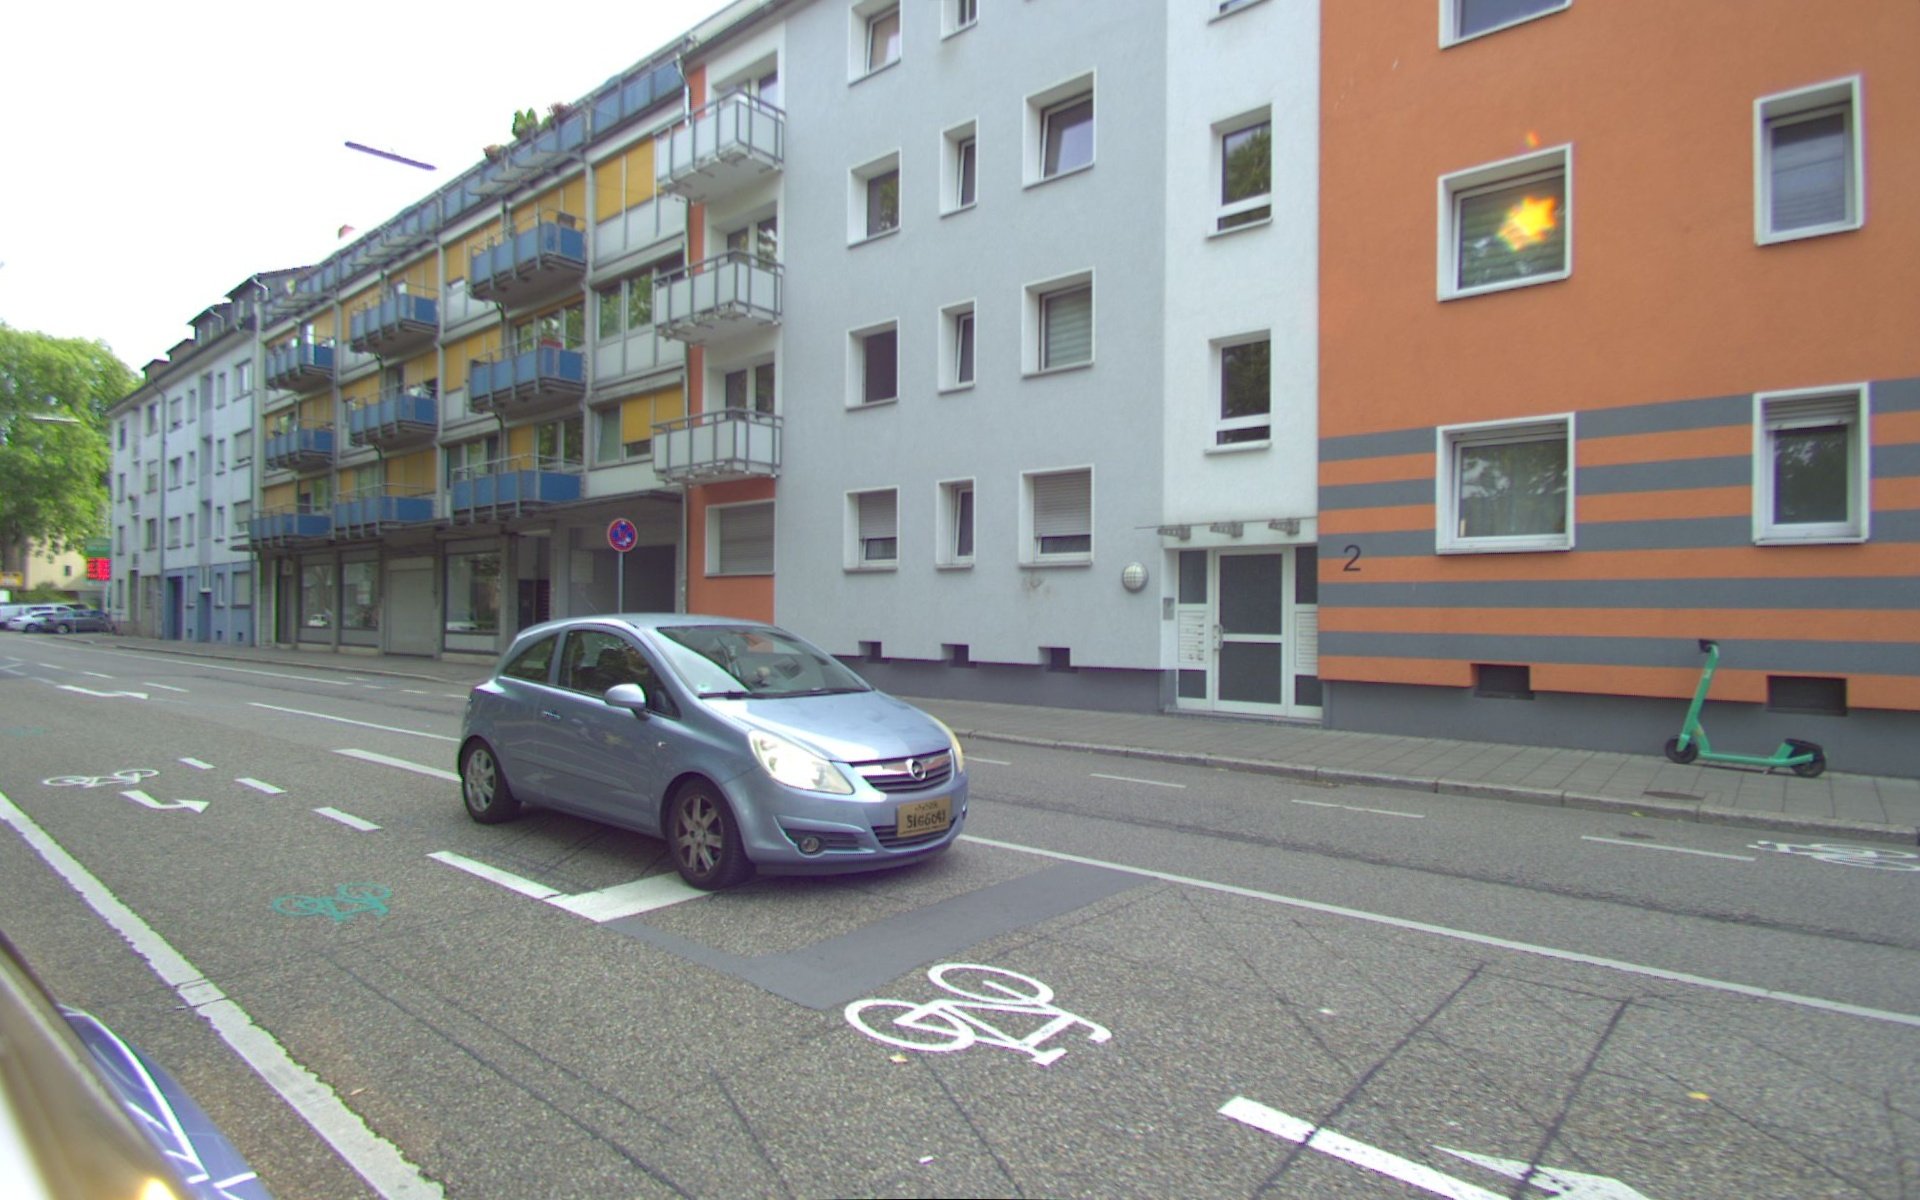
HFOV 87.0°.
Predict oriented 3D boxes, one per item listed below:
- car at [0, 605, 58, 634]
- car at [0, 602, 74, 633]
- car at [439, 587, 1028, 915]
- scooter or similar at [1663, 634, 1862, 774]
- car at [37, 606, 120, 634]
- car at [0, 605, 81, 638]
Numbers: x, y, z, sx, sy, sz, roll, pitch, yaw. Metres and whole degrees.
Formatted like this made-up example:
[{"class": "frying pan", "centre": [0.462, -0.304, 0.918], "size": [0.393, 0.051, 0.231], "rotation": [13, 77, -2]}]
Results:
[{"class": "car", "centre": [-70.042, 1.423, 75.408], "size": [1.998, 2.029, 3.947], "rotation": [-1, 0, 40]}, {"class": "car", "centre": [-63.283, 1.167, 69.052], "size": [1.998, 2.029, 3.947], "rotation": [-1, 0, 40]}, {"class": "car", "centre": [-1.593, 0.696, 6.358], "size": [3.817, 1.449, 1.652], "rotation": [-1, -1, 40]}, {"class": "scooter or similar", "centre": [7.120, 0.888, 9.022], "size": [1.353, 1.132, 0.364], "rotation": [-1, 0, 41]}, {"class": "car", "centre": [-56.775, 1.276, 65.228], "size": [1.881, 1.701, 3.822], "rotation": [-1, 0, 40]}, {"class": "car", "centre": [-61.236, 1.425, 67.295], "size": [1.998, 2.029, 3.947], "rotation": [-1, 0, 40]}]
